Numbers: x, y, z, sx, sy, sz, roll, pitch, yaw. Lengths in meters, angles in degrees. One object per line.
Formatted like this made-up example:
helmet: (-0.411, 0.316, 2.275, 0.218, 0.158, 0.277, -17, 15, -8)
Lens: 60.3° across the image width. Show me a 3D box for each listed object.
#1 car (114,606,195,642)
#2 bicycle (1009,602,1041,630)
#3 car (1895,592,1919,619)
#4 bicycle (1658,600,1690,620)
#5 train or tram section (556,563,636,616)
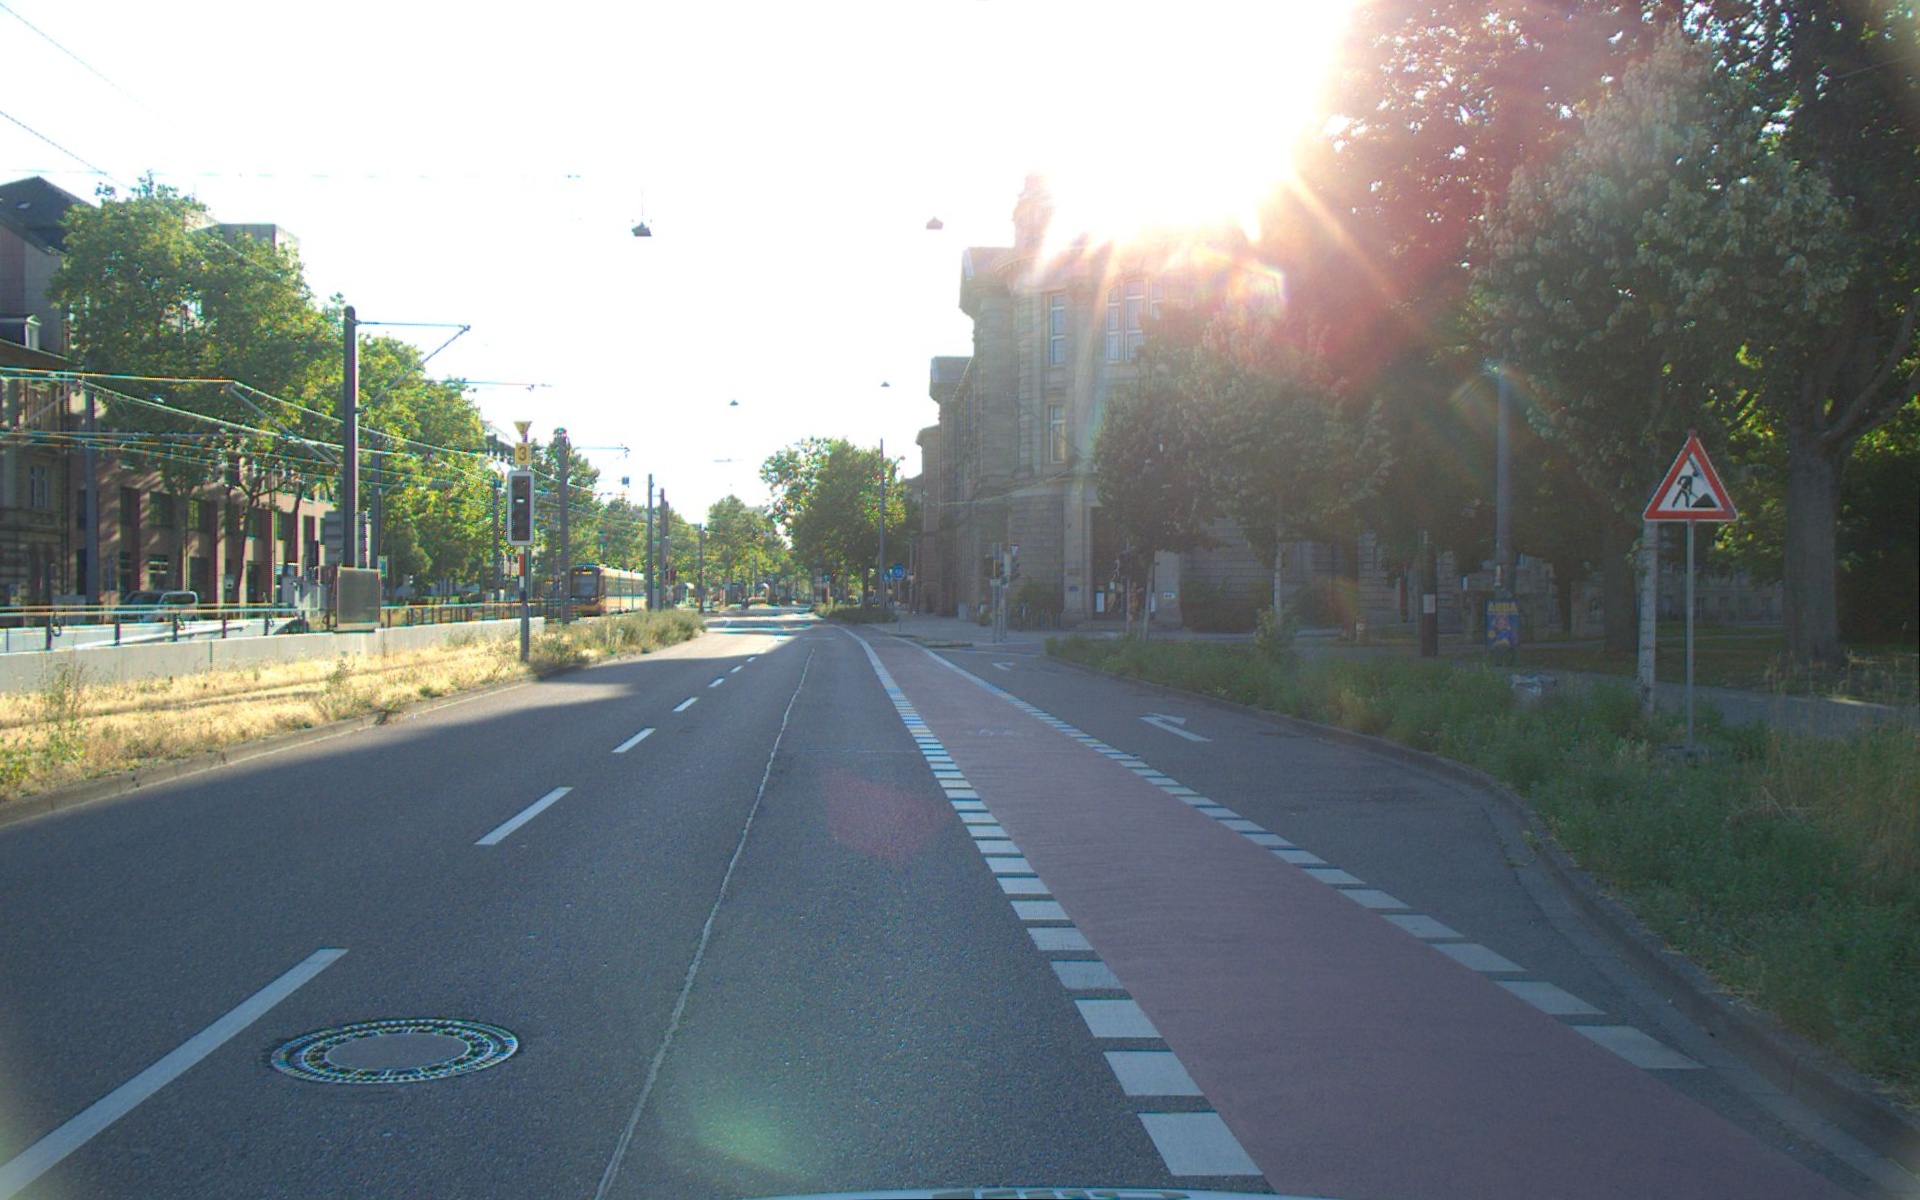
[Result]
car: (-37.475, 1.095, 77.094, 1.725, 1.612, 4.731, 0, 0, -4)
bicycle: (2.919, 0.718, 74.233, 0.848, 1.217, 2.240, -1, 0, 19)
car: (53.324, 0.267, 89.512, 1.767, 1.495, 4.386, 0, -1, -42)
bicycle: (41.266, 0.570, 95.612, 1.962, 1.120, 0.843, 0, 2, -38)
train or tram section: (-26.498, -0.708, 121.412, 3.050, 3.621, 17.465, 0, 0, -4)
